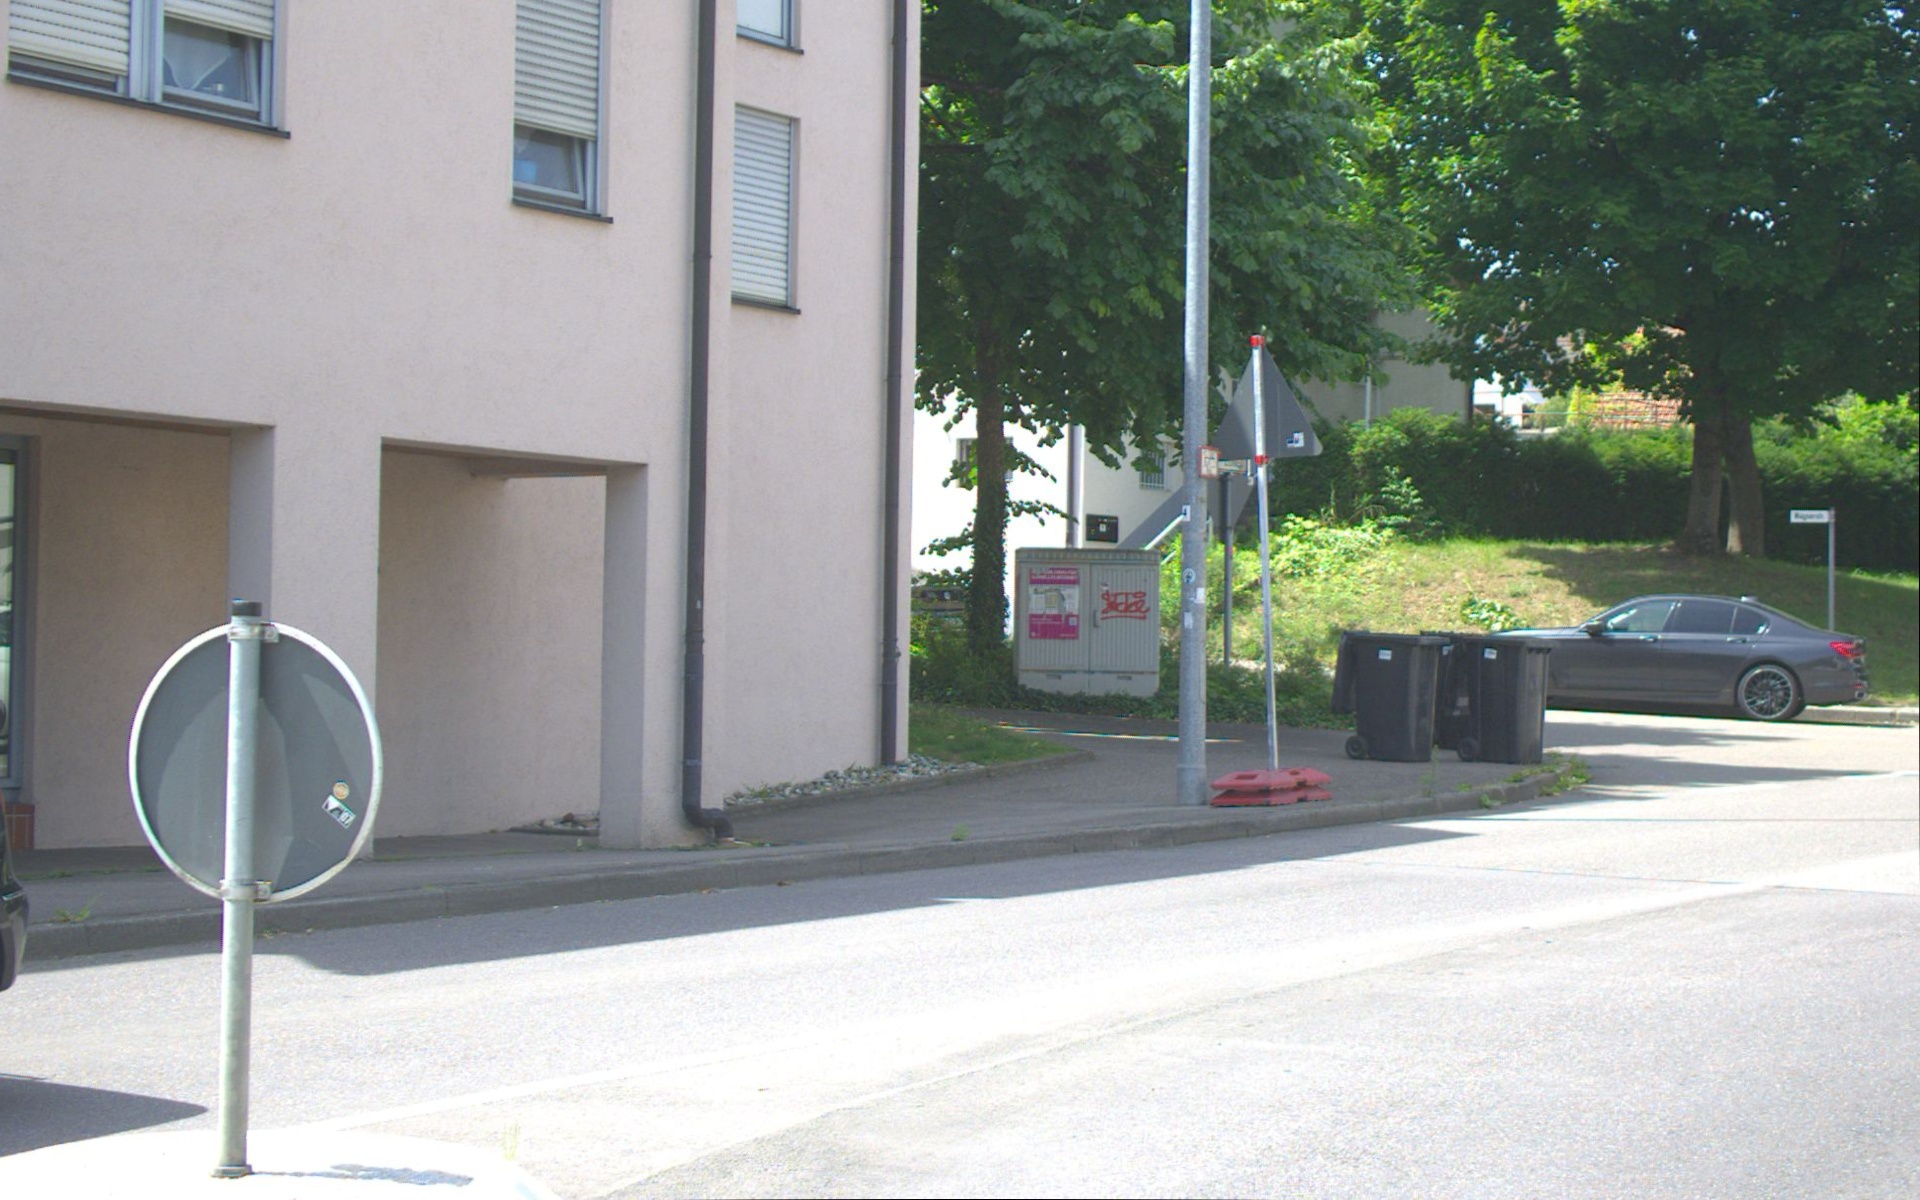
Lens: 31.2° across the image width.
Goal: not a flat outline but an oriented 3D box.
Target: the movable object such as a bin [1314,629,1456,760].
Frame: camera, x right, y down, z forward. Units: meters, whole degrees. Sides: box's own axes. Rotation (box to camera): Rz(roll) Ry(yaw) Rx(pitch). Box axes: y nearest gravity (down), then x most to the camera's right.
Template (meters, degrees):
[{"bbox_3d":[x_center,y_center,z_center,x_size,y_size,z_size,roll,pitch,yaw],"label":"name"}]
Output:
[{"bbox_3d":[3.418,0.750,27.636,0.802,0.997,0.803,2,1,38],"label":"movable object such as a bin"}]

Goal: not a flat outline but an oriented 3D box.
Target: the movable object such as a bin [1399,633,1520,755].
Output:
[{"bbox_3d":[4.350,0.816,29.942,0.773,0.997,0.607,5,1,38],"label":"movable object such as a bin"}]

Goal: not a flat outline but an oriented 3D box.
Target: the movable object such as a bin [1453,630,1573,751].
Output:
[{"bbox_3d":[4.884,0.802,30.360,0.773,0.997,0.607,5,1,38],"label":"movable object such as a bin"}]

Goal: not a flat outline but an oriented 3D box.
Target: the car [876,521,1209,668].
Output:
[{"bbox_3d":[1.068,-0.089,45.564,3.996,1.678,1.905,4,2,39],"label":"car"}]

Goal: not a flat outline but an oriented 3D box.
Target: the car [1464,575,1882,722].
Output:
[{"bbox_3d":[8.739,0.571,42.075,4.779,1.474,1.998,3,1,17],"label":"car"}]

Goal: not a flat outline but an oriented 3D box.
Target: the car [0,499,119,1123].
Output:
[{"bbox_3d":[-3.940,0.511,7.744,1.754,1.579,3.938,1,0,29],"label":"car"}]

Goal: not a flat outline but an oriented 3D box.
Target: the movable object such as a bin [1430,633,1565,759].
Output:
[{"bbox_3d":[4.374,0.771,27.956,0.853,0.997,0.692,0,0,38],"label":"movable object such as a bin"}]
